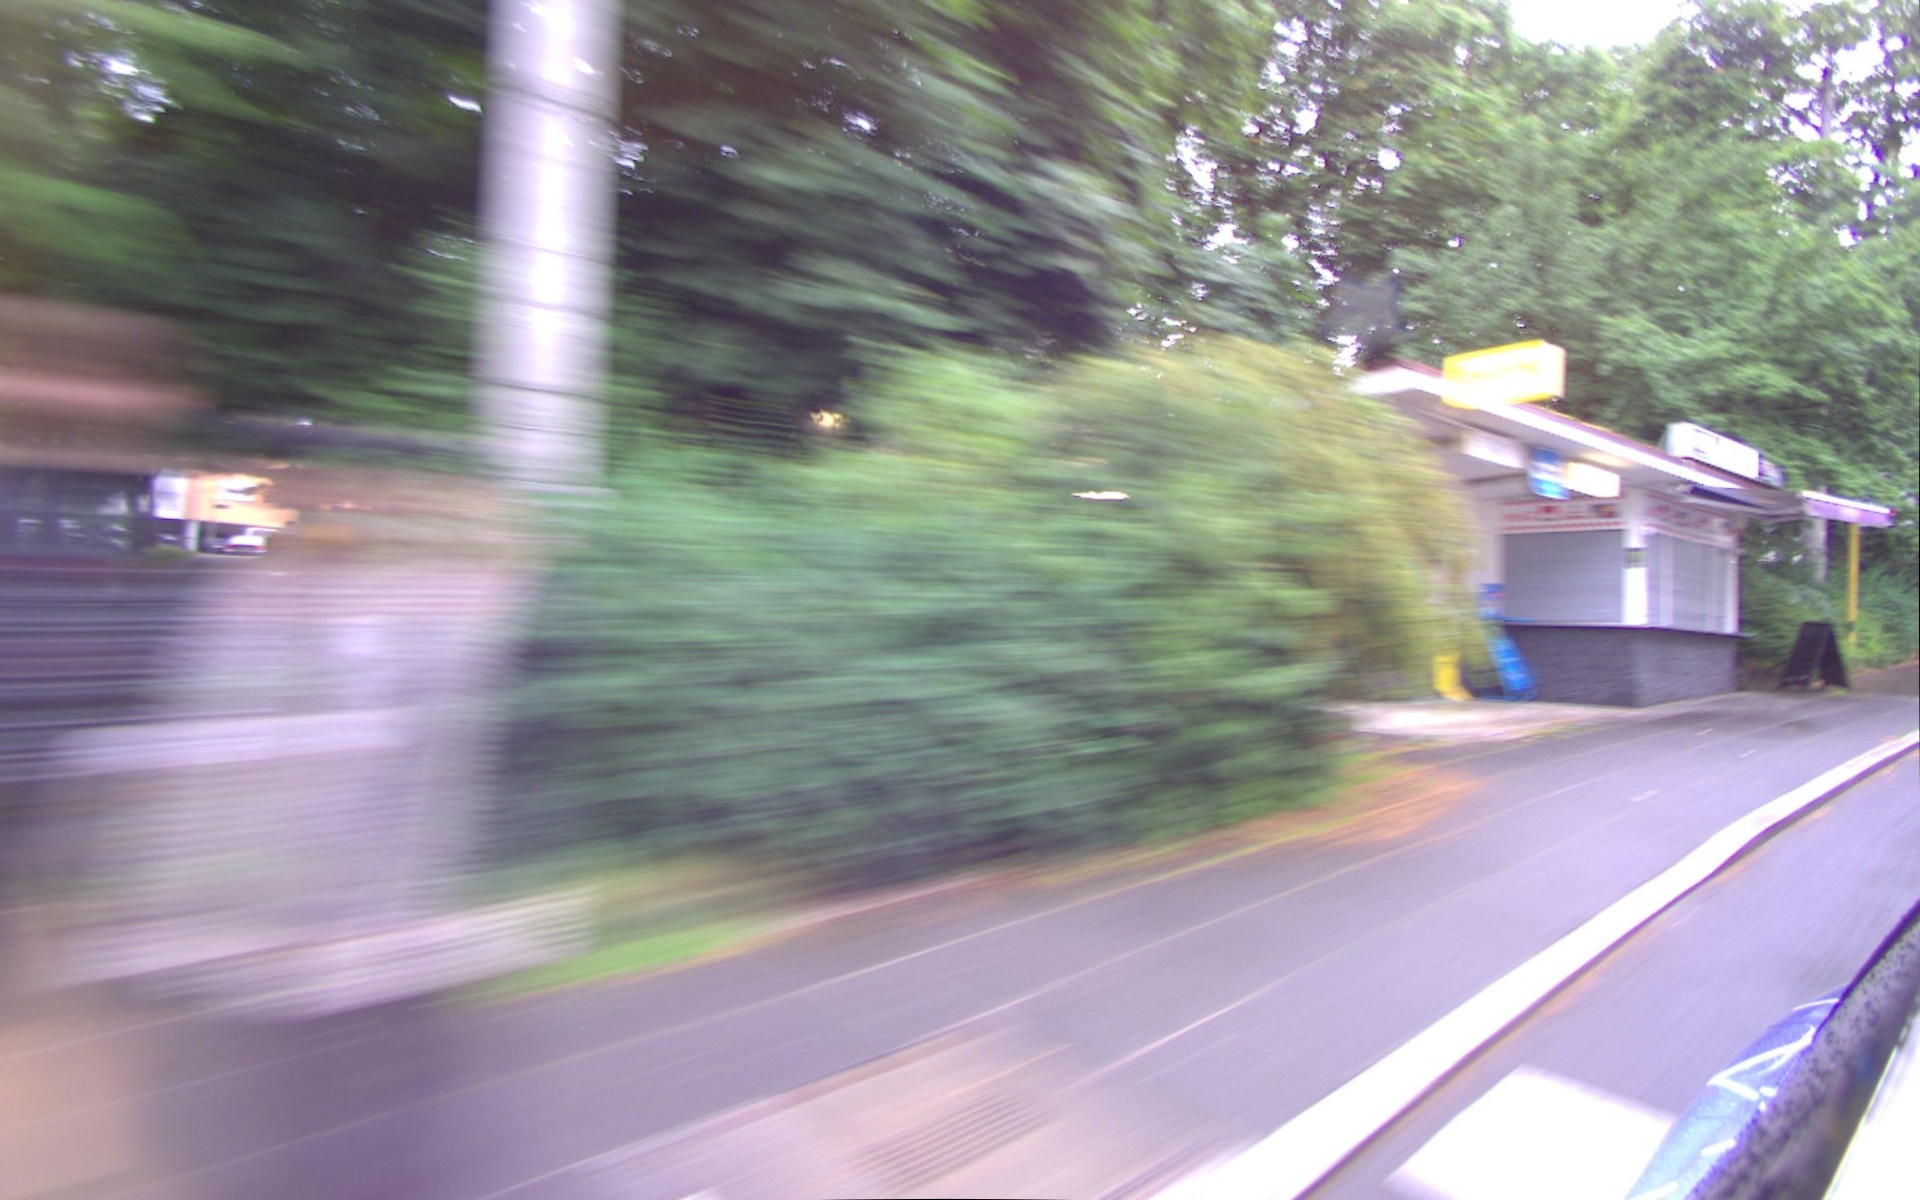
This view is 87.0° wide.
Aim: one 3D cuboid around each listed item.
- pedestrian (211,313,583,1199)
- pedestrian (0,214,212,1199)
[{"bbox_3d":[-1.132,0.413,1.998,0.545,1.716,0.697,0,0,-38],"label":"pedestrian"},{"bbox_3d":[-1.740,0.300,1.801,0.639,1.836,0.555,0,0,-38],"label":"pedestrian"}]
